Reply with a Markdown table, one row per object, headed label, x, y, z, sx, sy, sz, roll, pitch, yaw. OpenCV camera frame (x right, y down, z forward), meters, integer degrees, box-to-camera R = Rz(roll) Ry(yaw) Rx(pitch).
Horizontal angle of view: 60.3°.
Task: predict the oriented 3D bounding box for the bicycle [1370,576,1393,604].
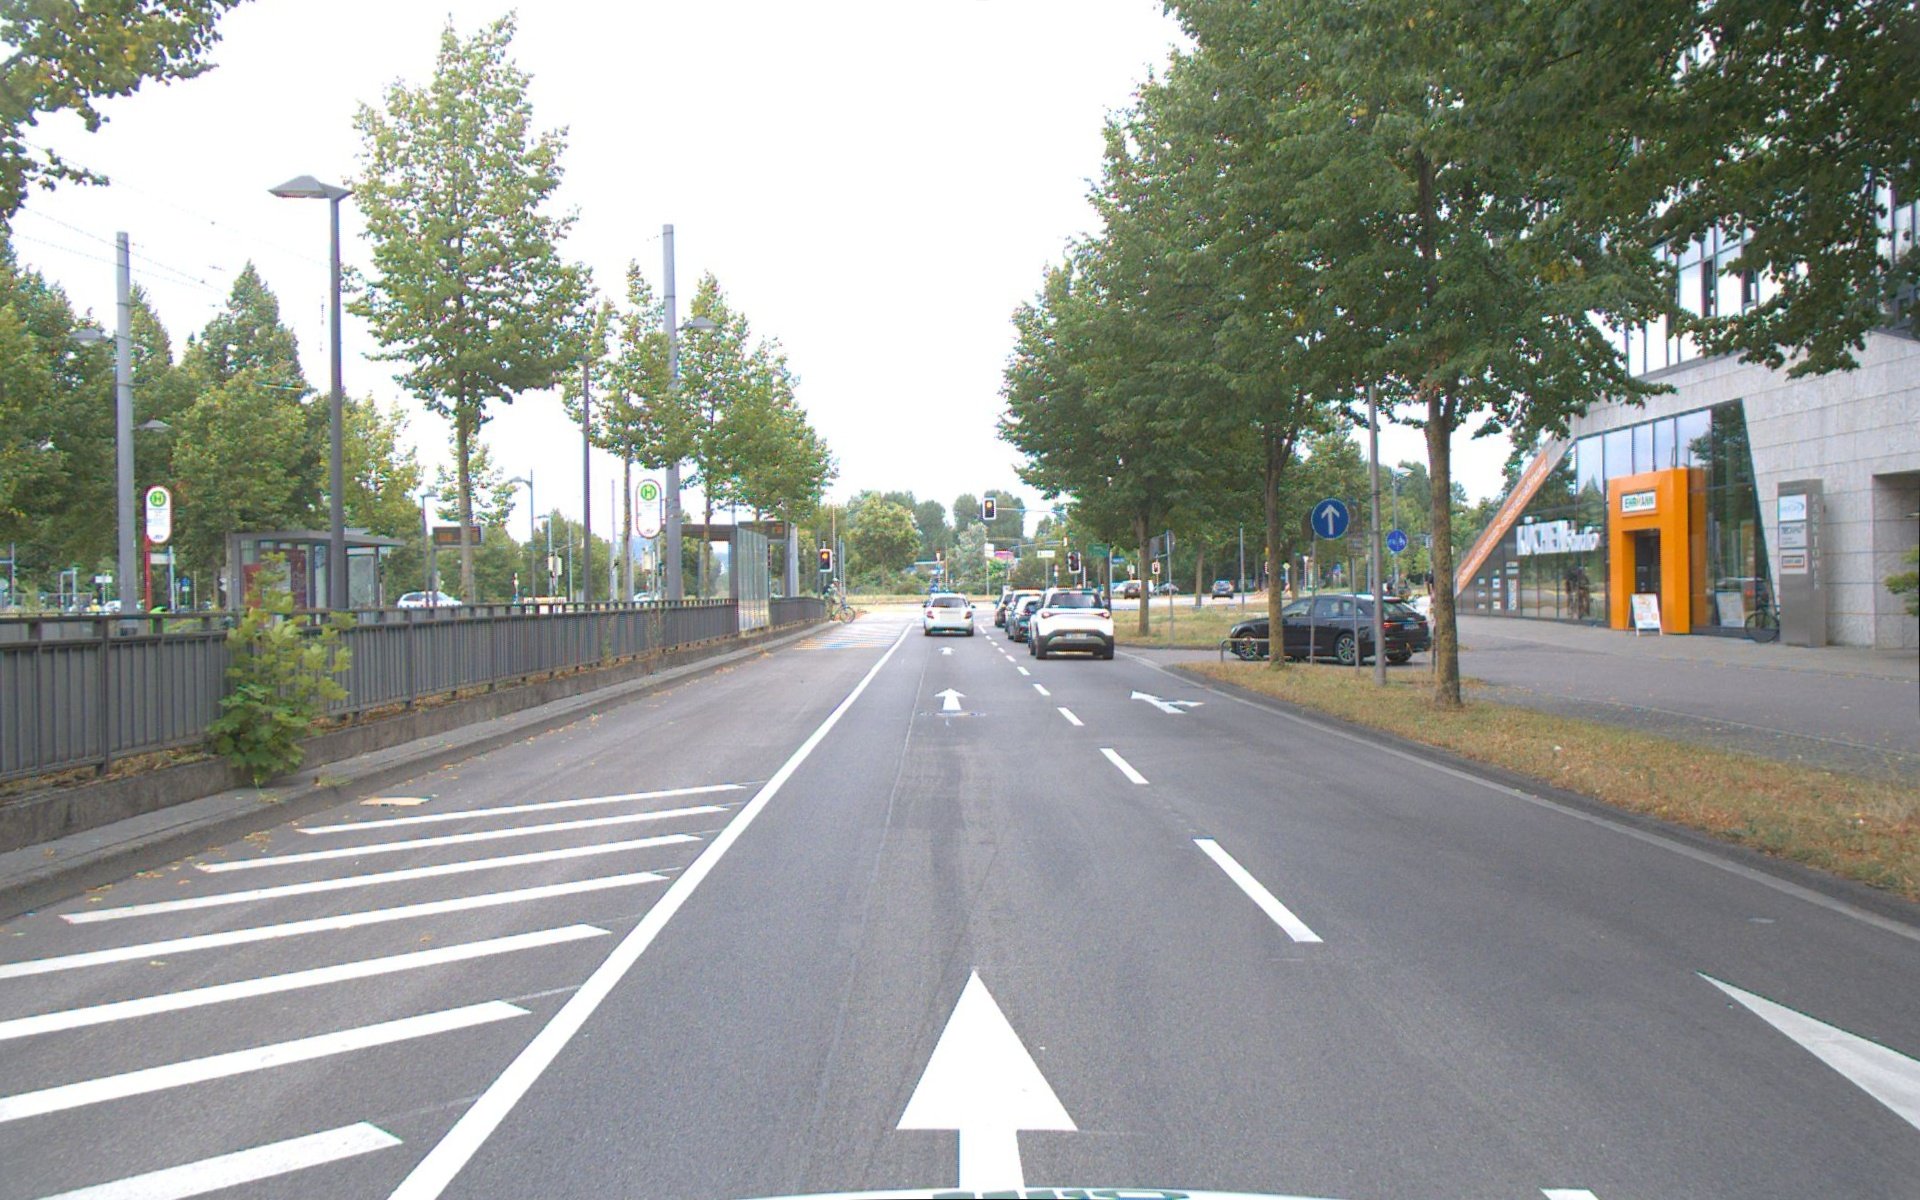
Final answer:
| label | x | y | z | sx | sy | sz | roll | pitch | yaw |
| --- | --- | --- | --- | --- | --- | --- | --- | --- | --- |
| bicycle | 23.862 | -0.572 | 93.589 | 0.691 | 1.532 | 2.006 | -1 | 0 | -3 |

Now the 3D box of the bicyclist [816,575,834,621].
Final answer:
| label | x | y | z | sx | sy | sz | roll | pitch | yaw |
| --- | --- | --- | --- | --- | --- | --- | --- | --- | --- |
| bicyclist | -6.011 | -0.082 | 73.616 | 0.714 | 1.916 | 0.735 | -1 | 8 | -4 |

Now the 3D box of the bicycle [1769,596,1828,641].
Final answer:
| label | x | y | z | sx | sy | sz | roll | pitch | yaw |
| --- | --- | --- | --- | --- | --- | --- | --- | --- | --- |
| bicycle | 18.255 | 0.392 | 36.024 | 0.507 | 0.926 | 1.493 | -1 | 0 | 0 |

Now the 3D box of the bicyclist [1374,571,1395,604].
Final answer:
| label | x | y | z | sx | sy | sz | roll | pitch | yaw |
| --- | --- | --- | --- | --- | --- | --- | --- | --- | --- |
| bicyclist | 23.933 | -0.714 | 93.204 | 0.849 | 1.820 | 1.174 | -1 | 0 | -2 |

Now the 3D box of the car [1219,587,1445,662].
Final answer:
| label | x | y | z | sx | sy | sz | roll | pitch | yaw |
| --- | --- | --- | --- | --- | --- | --- | --- | --- | --- |
| car | 8.080 | 0.514 | 36.360 | 1.925 | 1.501 | 4.810 | -1 | 0 | -35 |

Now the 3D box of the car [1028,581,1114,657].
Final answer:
| label | x | y | z | sx | sy | sz | roll | pitch | yaw |
| --- | --- | --- | --- | --- | --- | --- | --- | --- | --- |
| car | 2.617 | 0.426 | 39.747 | 1.742 | 1.685 | 4.023 | -1 | 0 | 0 |

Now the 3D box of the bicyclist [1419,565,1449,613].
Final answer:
| label | x | y | z | sx | sy | sz | roll | pitch | yaw |
| --- | --- | --- | --- | --- | --- | --- | --- | --- | --- |
| bicyclist | 16.166 | -0.382 | 56.443 | 0.710 | 1.610 | 0.989 | -1 | 0 | -1 |

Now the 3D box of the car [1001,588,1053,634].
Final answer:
| label | x | y | z | sx | sy | sz | roll | pitch | yaw |
| --- | --- | --- | --- | --- | --- | --- | --- | --- | --- |
| car | 2.500 | 0.390 | 62.227 | 1.751 | 1.653 | 3.910 | -1 | 0 | 0 |

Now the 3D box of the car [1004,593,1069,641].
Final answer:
| label | x | y | z | sx | sy | sz | roll | pitch | yaw |
| --- | --- | --- | --- | --- | --- | --- | --- | --- | --- |
| car | 2.460 | 0.529 | 54.152 | 1.751 | 1.457 | 4.309 | -1 | 0 | -3 |

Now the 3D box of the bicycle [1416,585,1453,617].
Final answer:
| label | x | y | z | sx | sy | sz | roll | pitch | yaw |
| --- | --- | --- | --- | --- | --- | --- | --- | --- | --- |
| bicycle | 16.160 | 0.015 | 56.370 | 0.659 | 1.060 | 2.007 | -1 | 0 | -1 |

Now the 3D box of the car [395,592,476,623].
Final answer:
| label | x | y | z | sx | sy | sz | roll | pitch | yaw |
| --- | --- | --- | --- | --- | --- | --- | --- | --- | --- |
| car | -28.736 | 0.401 | 90.666 | 4.293 | 1.646 | 1.994 | -1 | 0 | 34 |

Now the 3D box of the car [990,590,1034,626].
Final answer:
| label | x | y | z | sx | sy | sz | roll | pitch | yaw |
| --- | --- | --- | --- | --- | --- | --- | --- | --- | --- |
| car | 2.193 | 0.323 | 70.048 | 1.592 | 1.474 | 3.909 | 0 | 0 | -2 |

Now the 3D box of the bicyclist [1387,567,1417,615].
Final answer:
| label | x | y | z | sx | sy | sz | roll | pitch | yaw |
| --- | --- | --- | --- | --- | --- | --- | --- | --- | --- |
| bicyclist | 14.949 | -0.311 | 55.933 | 0.710 | 1.610 | 0.989 | -1 | 0 | -1 |

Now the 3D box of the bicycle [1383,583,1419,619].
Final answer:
| label | x | y | z | sx | sy | sz | roll | pitch | yaw |
| --- | --- | --- | --- | --- | --- | --- | --- | --- | --- |
| bicycle | 14.931 | 0.031 | 56.079 | 0.659 | 1.163 | 2.007 | -1 | 0 | -1 |

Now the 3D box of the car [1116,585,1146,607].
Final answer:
| label | x | y | z | sx | sy | sz | roll | pitch | yaw |
| --- | --- | --- | --- | --- | --- | --- | --- | --- | --- |
| car | 14.783 | -0.348 | 143.071 | 1.954 | 1.822 | 3.997 | 1 | 0 | -4 |

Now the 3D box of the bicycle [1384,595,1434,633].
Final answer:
| label | x | y | z | sx | sy | sz | roll | pitch | yaw |
| --- | --- | --- | --- | --- | --- | --- | --- | --- | --- |
| bicycle | 12.136 | 0.369 | 44.754 | 0.617 | 0.972 | 2.105 | -1 | 0 | -5 |

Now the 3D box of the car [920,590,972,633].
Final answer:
| label | x | y | z | sx | sy | sz | roll | pitch | yaw |
| --- | --- | --- | --- | --- | --- | --- | --- | --- | --- |
| car | -0.530 | 0.388 | 58.897 | 1.738 | 1.474 | 3.909 | 0 | 0 | -2 |

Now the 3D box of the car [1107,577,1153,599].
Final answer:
| label | x | y | z | sx | sy | sz | roll | pitch | yaw |
| --- | --- | --- | --- | --- | --- | --- | --- | --- | --- |
| car | 17.072 | -1.196 | 165.927 | 1.967 | 2.049 | 4.964 | -1 | 1 | 45 |

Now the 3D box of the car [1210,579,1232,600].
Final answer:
| label | x | y | z | sx | sy | sz | roll | pitch | yaw |
| --- | --- | --- | --- | --- | --- | --- | --- | --- | --- |
| car | 21.813 | -0.893 | 138.068 | 1.745 | 1.664 | 4.406 | -1 | 0 | 9 |
